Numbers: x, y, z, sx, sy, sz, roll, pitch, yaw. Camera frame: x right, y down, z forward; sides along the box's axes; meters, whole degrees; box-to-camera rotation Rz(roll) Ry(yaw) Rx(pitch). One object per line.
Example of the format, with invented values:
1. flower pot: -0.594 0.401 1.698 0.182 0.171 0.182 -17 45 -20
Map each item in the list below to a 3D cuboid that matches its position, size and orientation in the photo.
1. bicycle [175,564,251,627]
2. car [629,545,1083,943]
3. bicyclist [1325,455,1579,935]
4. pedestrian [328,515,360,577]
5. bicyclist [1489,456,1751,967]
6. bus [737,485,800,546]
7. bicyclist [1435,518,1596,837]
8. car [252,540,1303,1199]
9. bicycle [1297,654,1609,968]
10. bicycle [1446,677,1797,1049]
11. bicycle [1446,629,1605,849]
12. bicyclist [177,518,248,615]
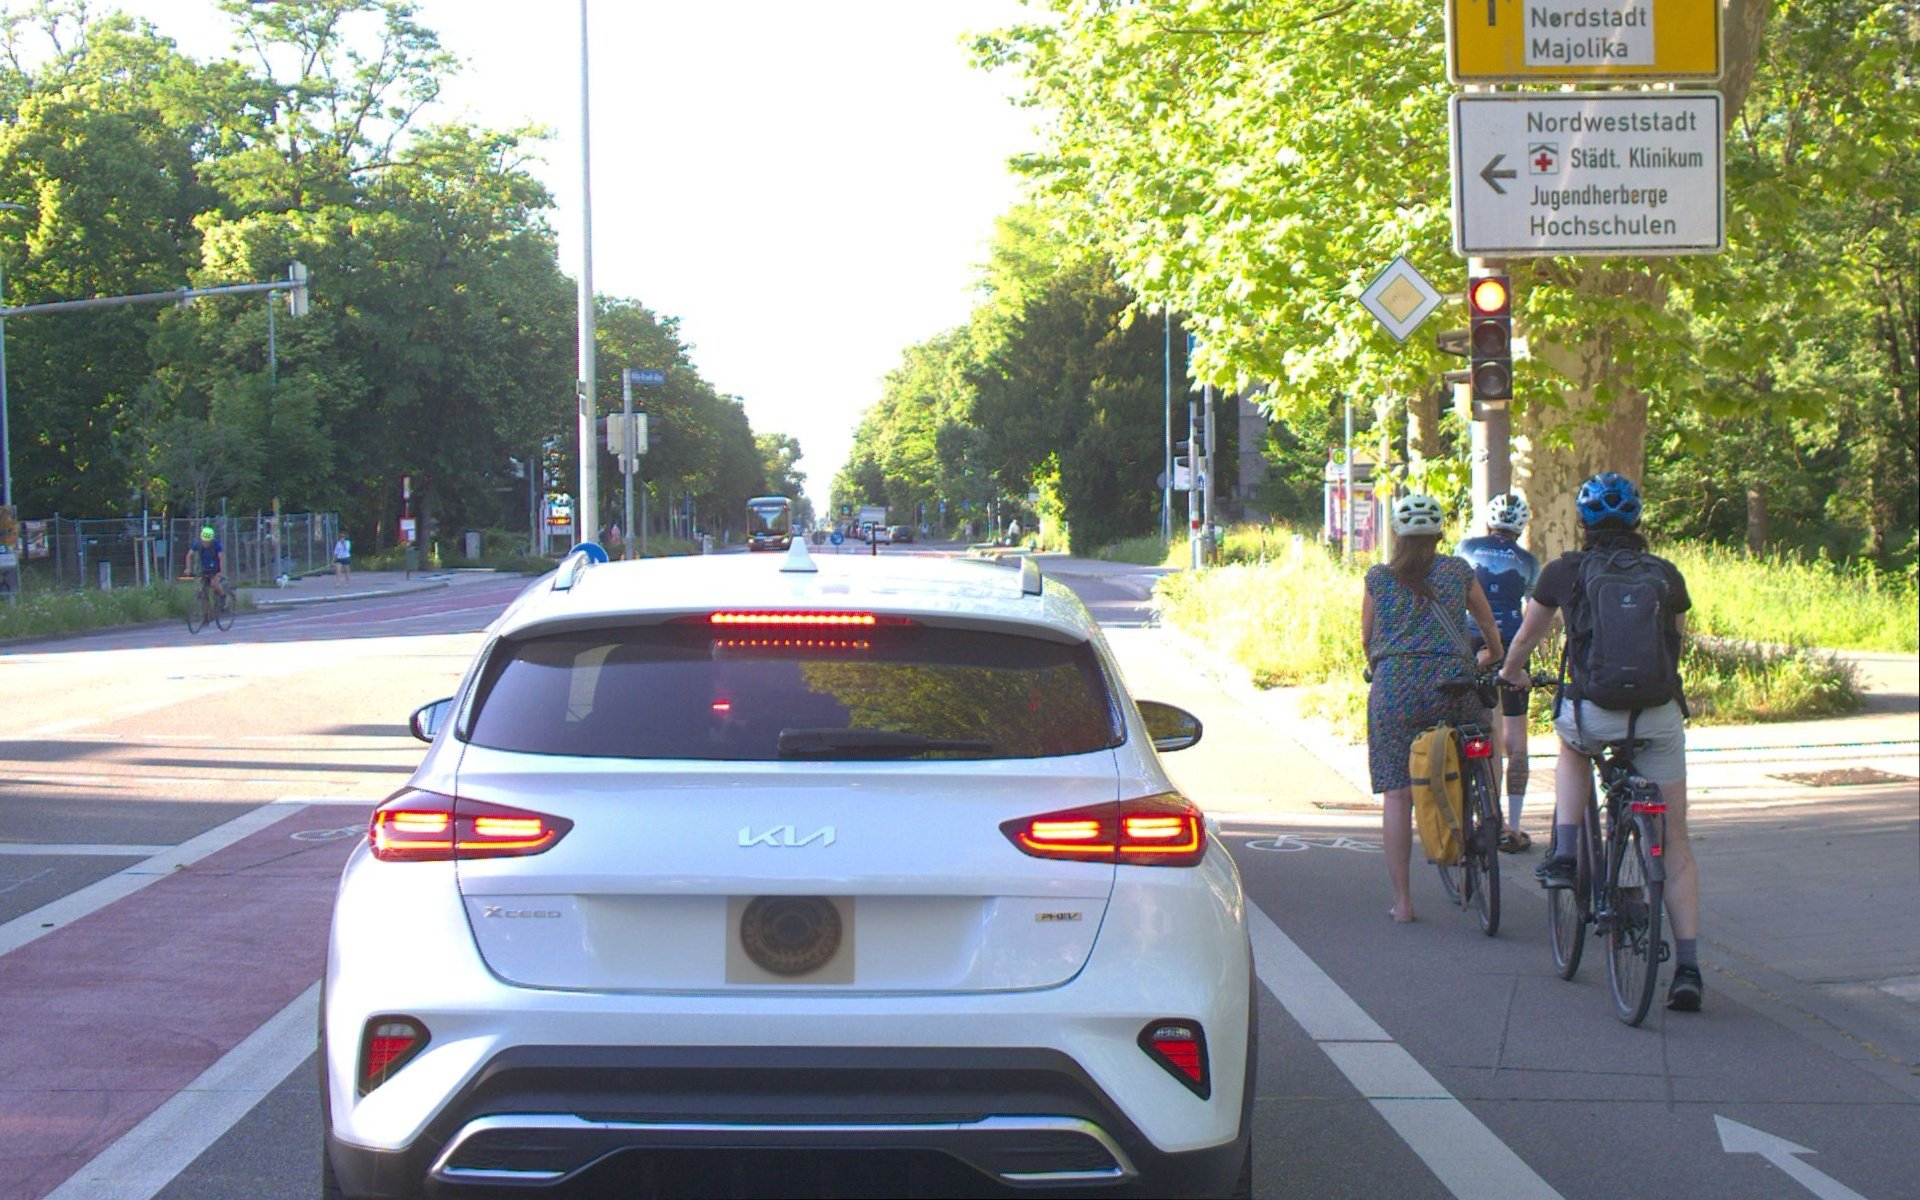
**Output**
1. bicycle: -12.715 -0.086 58.559 0.663 0.985 2.504 -1 1 2
2. car: -0.470 0.528 15.100 1.728 1.478 3.517 -1 1 -2
3. bicyclist: 1.908 0.344 13.480 0.753 1.789 1.165 1 1 -2
4. pedestrian: -17.579 -1.539 98.070 0.785 1.779 0.751 0 1 0
5. bicyclist: 2.123 0.343 11.126 0.665 1.596 0.721 1 1 -2
6. bus: -12.220 -5.355 218.607 3.741 3.660 13.243 -1 1 -4
7. bicyclist: 2.668 0.362 16.560 0.554 1.473 0.717 -4 1 -2
8. car: -0.379 0.615 7.950 1.821 1.475 3.937 0 1 -2
9. bicycle: 1.894 0.778 13.615 0.758 1.009 2.570 1 1 -2
10. bicycle: 2.112 0.805 11.256 0.668 1.006 2.081 1 1 -2
11. bicycle: 2.702 0.643 16.523 0.401 0.953 1.551 -4 1 -2
12. bicyclist: -12.727 -0.581 58.539 0.875 1.603 1.188 -1 1 1
